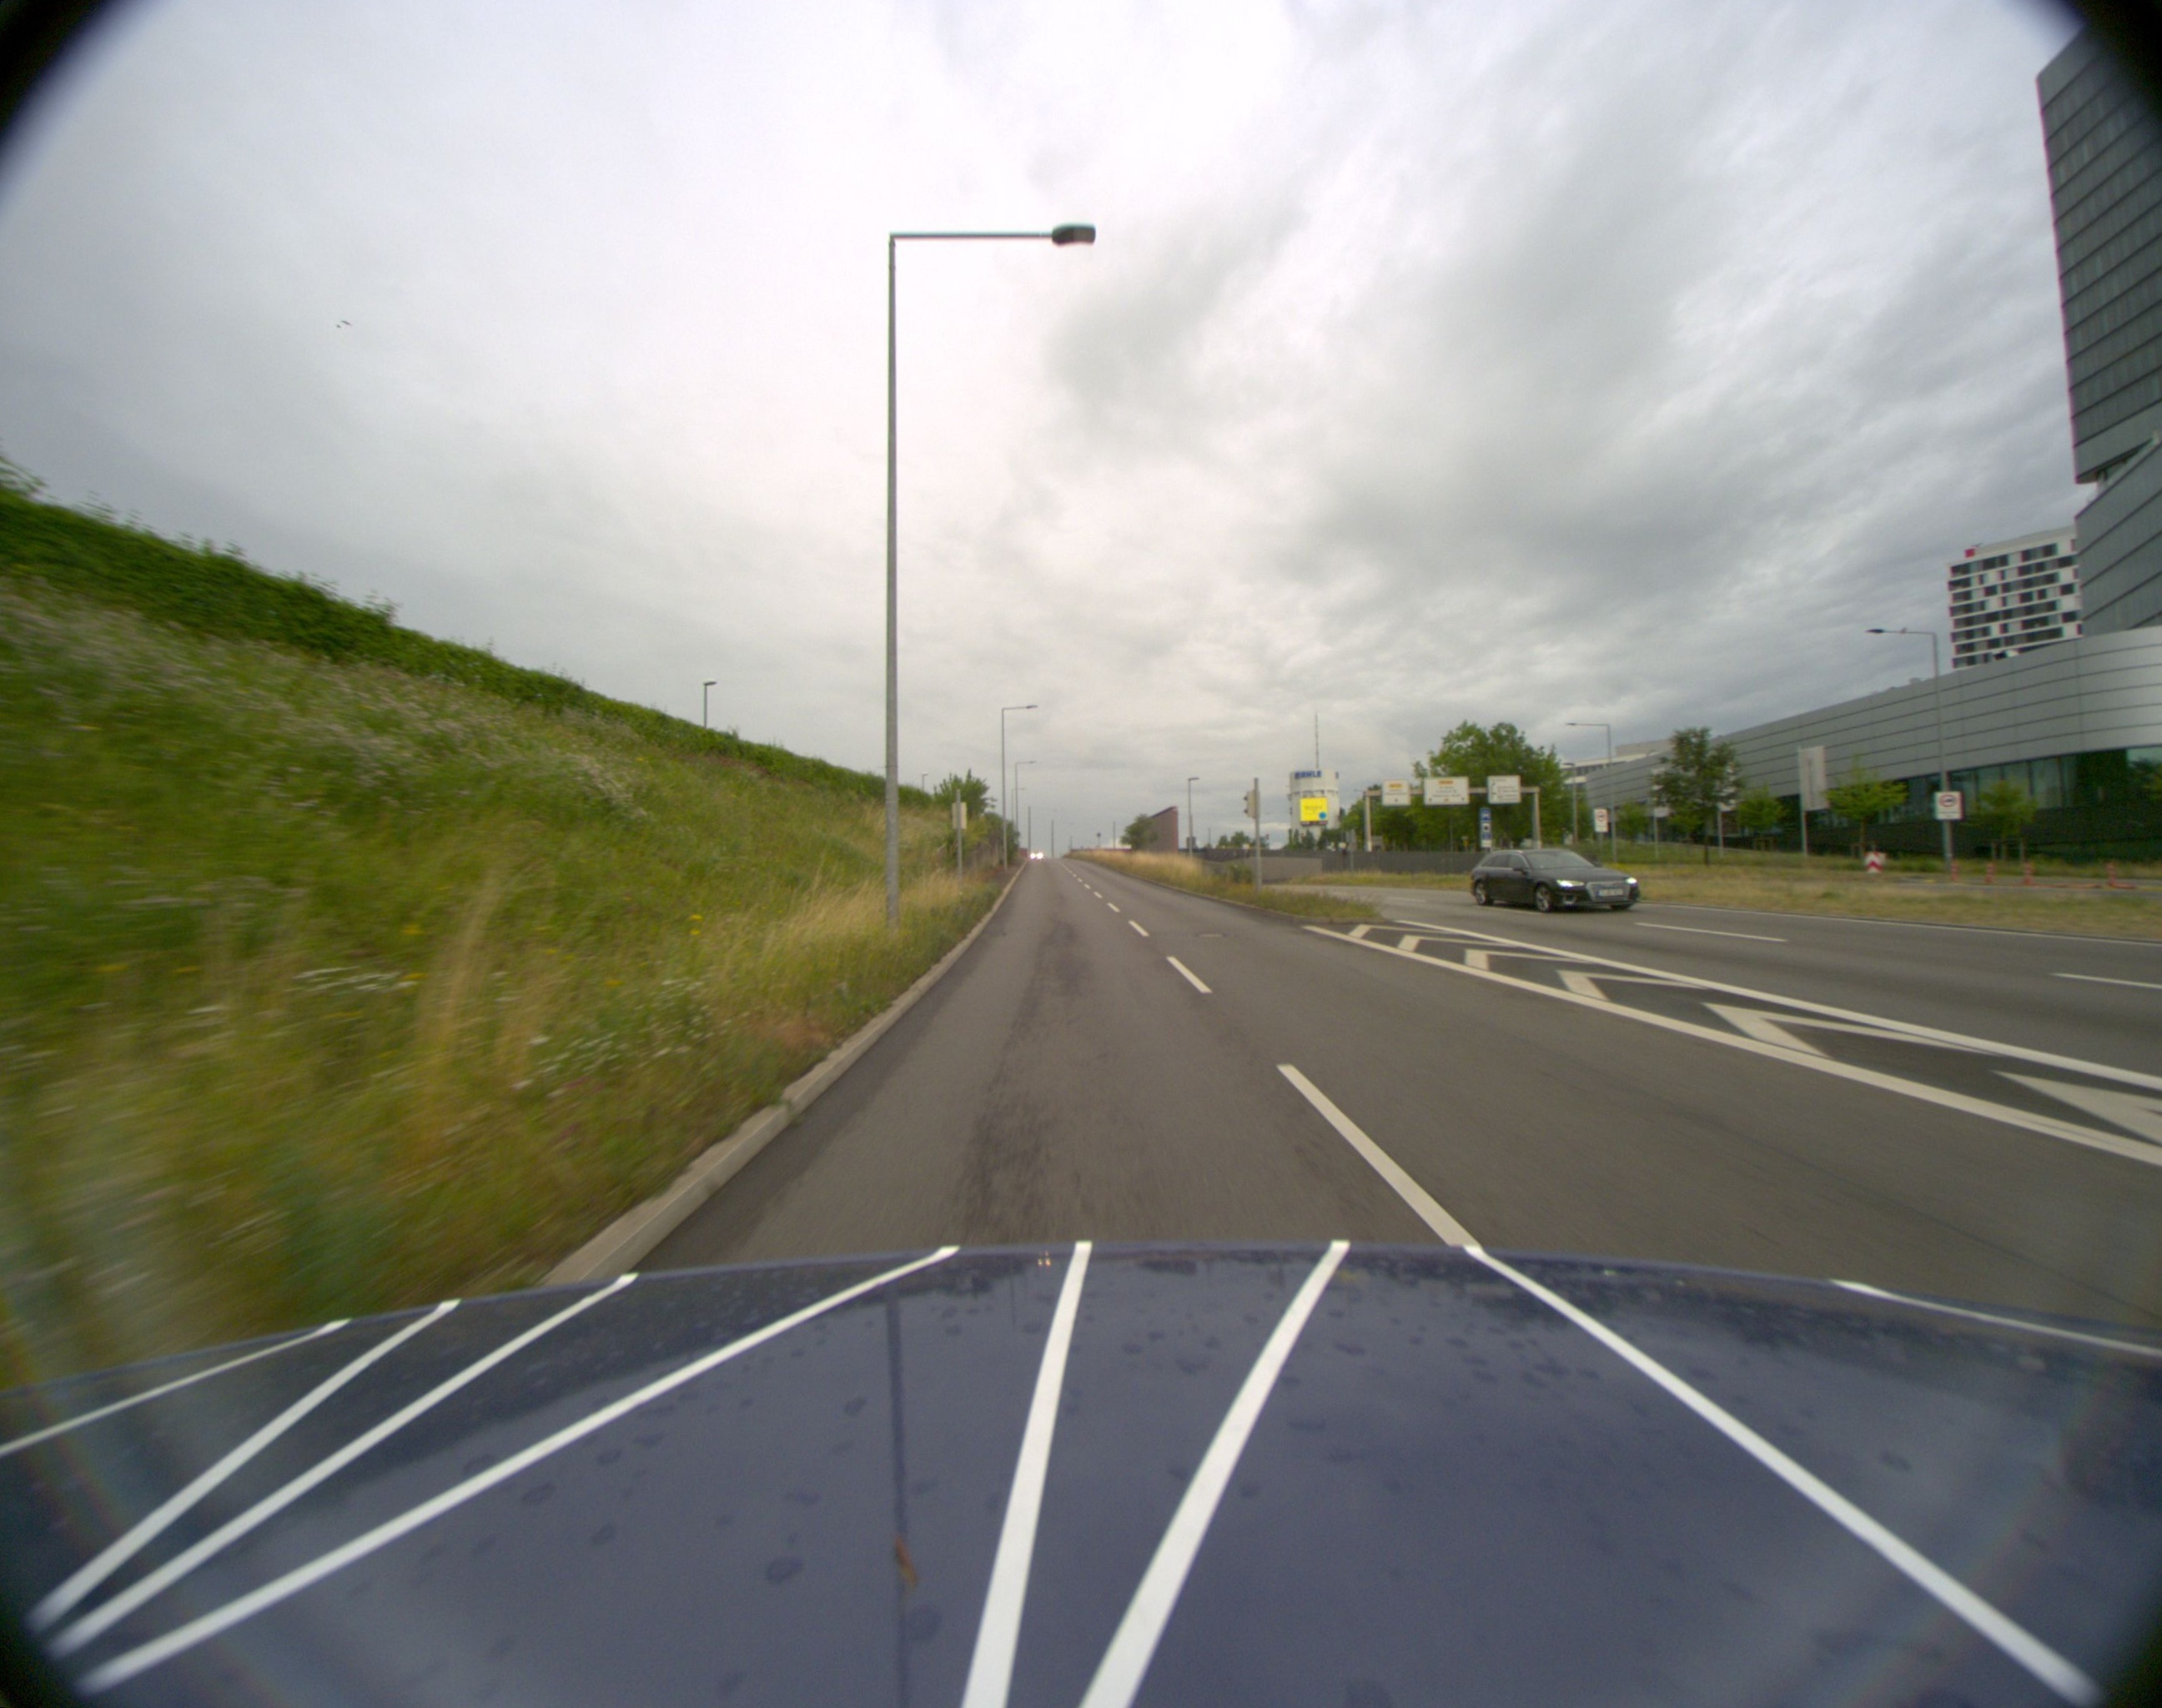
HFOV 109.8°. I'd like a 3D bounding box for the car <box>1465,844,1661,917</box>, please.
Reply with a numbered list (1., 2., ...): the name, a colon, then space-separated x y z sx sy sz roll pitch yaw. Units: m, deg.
1. car: 11.067 0.535 17.911 1.814 1.411 4.632 -4 0 3
